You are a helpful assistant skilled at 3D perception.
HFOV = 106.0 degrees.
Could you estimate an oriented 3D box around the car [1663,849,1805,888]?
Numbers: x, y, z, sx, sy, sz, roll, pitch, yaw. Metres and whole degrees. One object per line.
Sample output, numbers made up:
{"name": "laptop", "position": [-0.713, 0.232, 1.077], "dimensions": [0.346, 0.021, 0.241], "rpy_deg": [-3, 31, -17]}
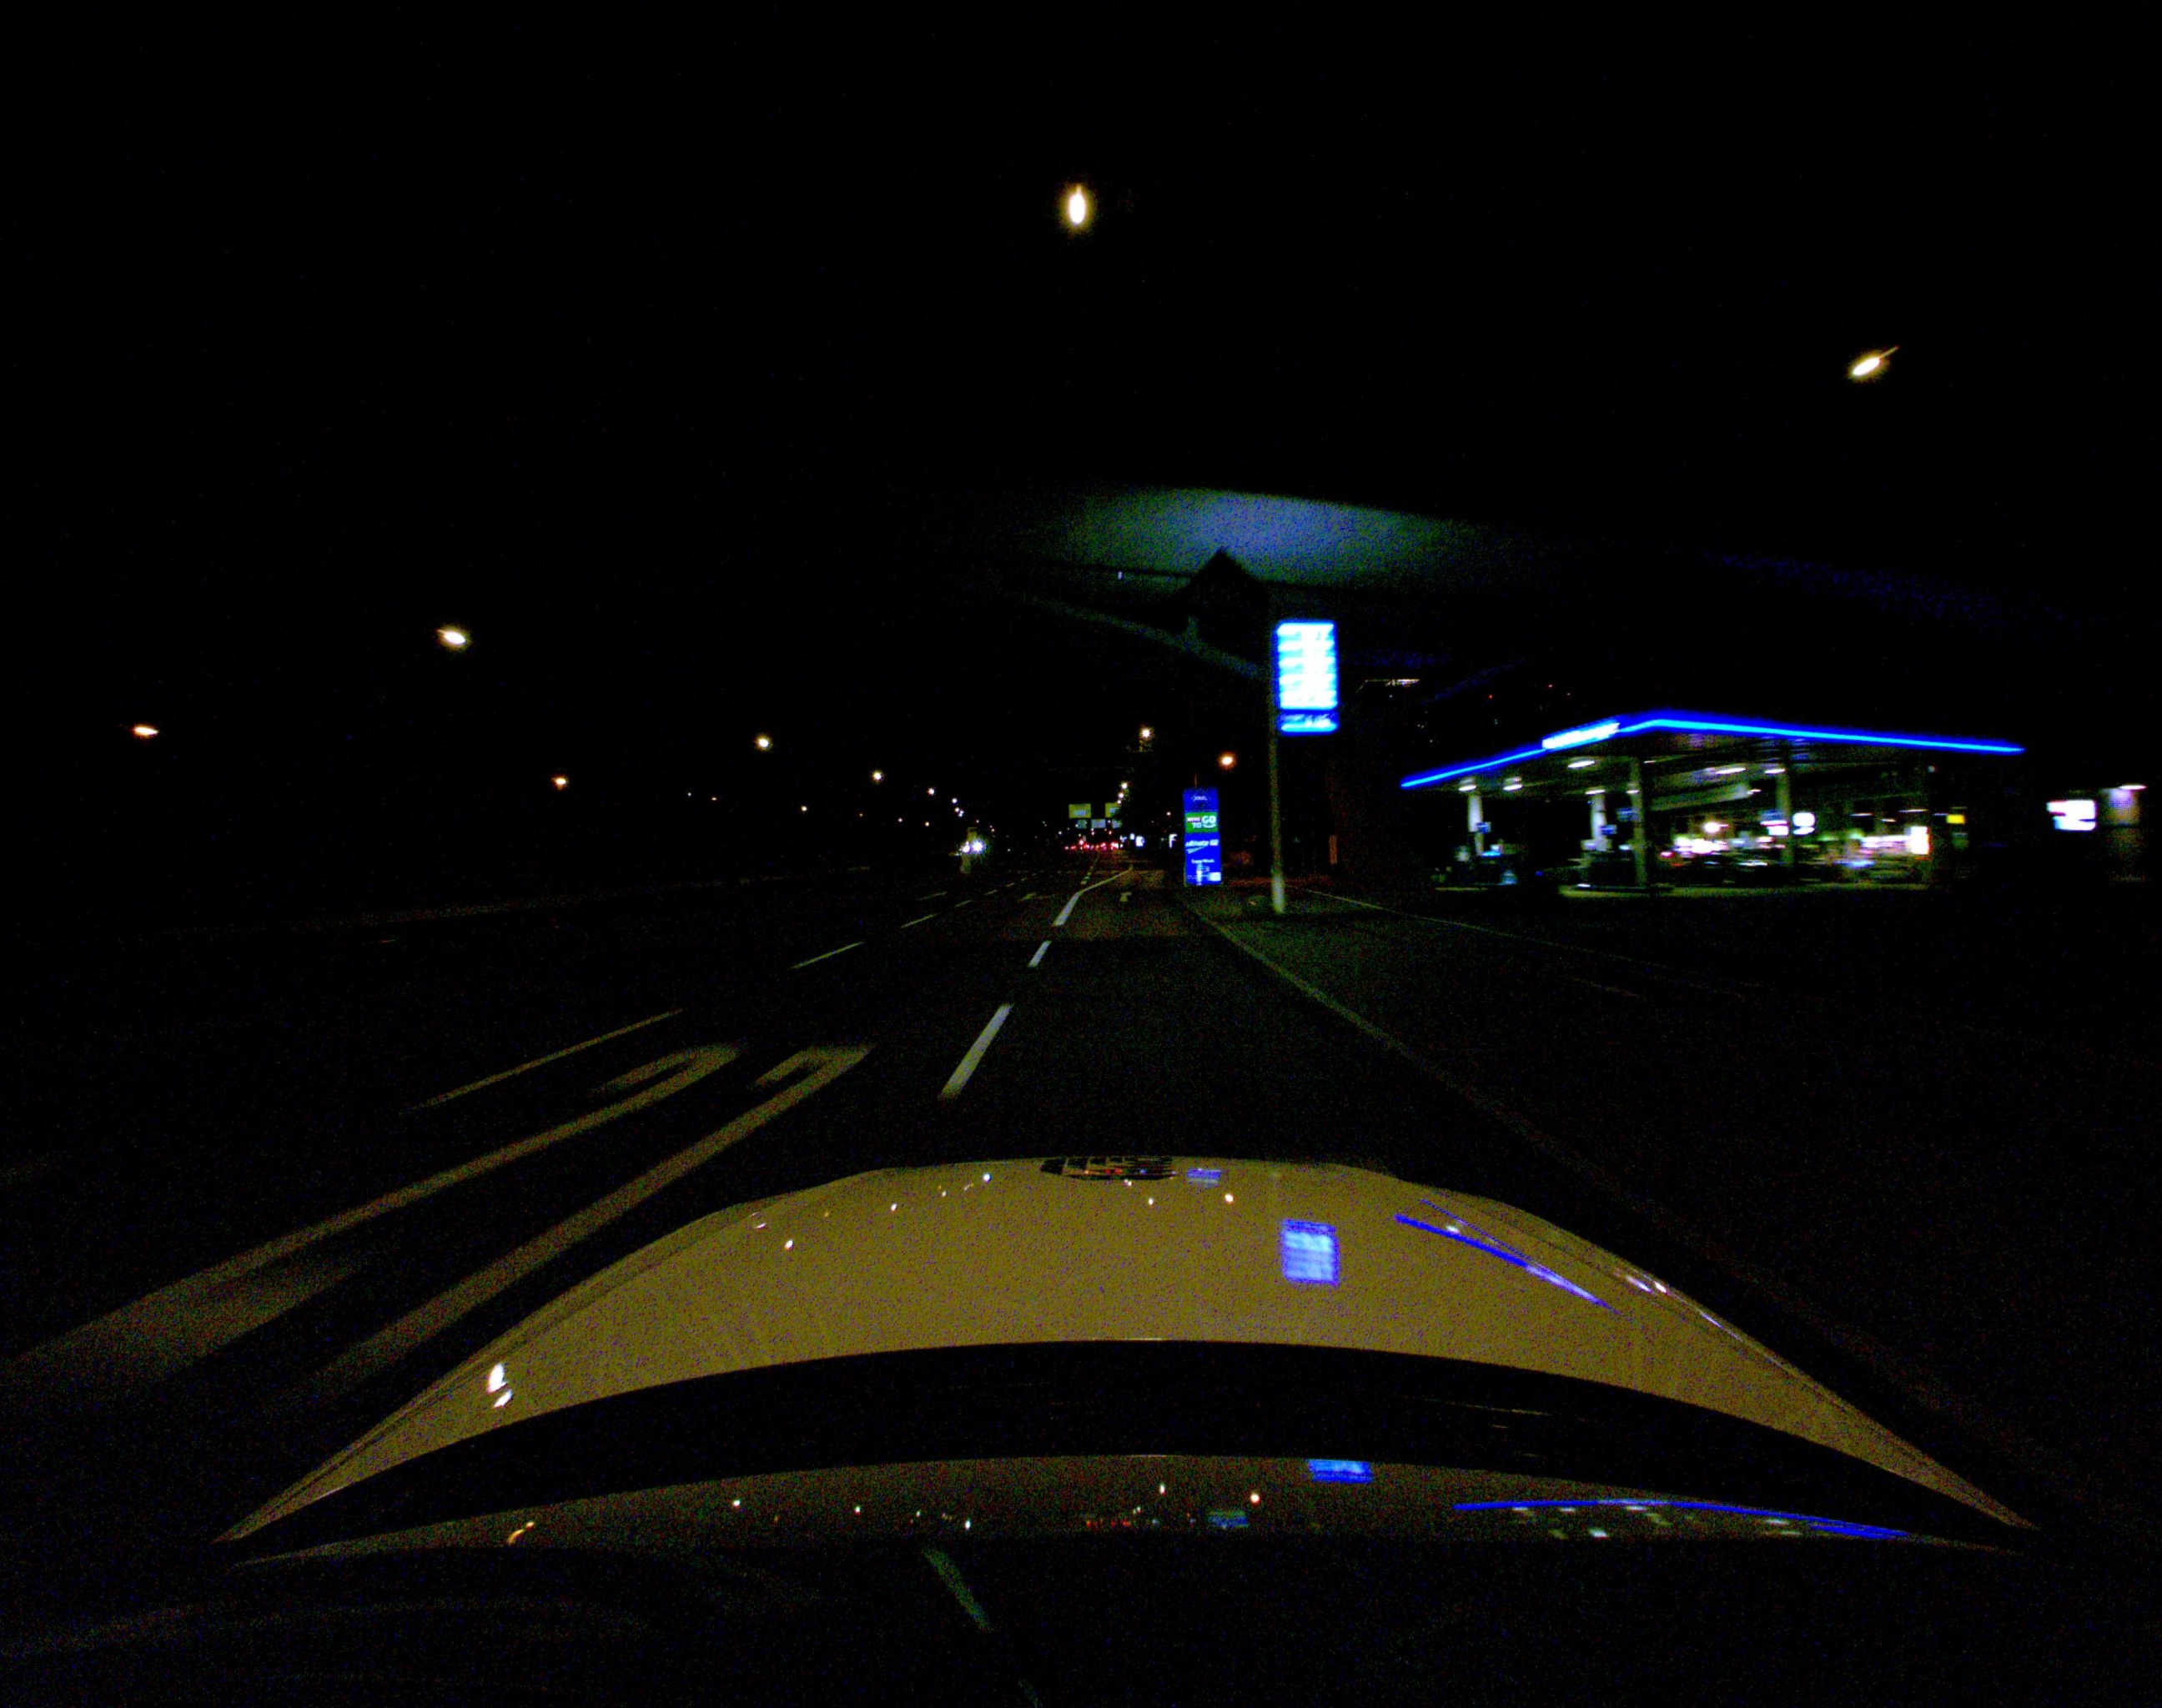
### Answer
{"name": "car", "position": [25.102, 0.541, 31.543], "dimensions": [1.922, 1.363, 4.331], "rpy_deg": [-1, -1, -2]}

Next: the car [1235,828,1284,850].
{"name": "car", "position": [15.480, -1.286, 70.777], "dimensions": [3.735, 1.587, 1.780], "rpy_deg": [-4, -2, 0]}

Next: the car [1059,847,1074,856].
{"name": "car", "position": [-3.021, -0.488, 172.953], "dimensions": [1.975, 1.711, 3.971], "rpy_deg": [1, -1, -21]}

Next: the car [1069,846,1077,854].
{"name": "car", "position": [-1.843, -0.994, 196.861], "dimensions": [1.778, 1.711, 3.995], "rpy_deg": [0, -1, -3]}

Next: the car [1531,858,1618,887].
{"name": "car", "position": [24.437, 0.888, 40.503], "dimensions": [1.649, 1.359, 4.063], "rpy_deg": [0, -1, -4]}

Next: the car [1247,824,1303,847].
{"name": "car", "position": [15.589, -1.455, 65.524], "dimensions": [4.102, 1.522, 1.824], "rpy_deg": [-3, -2, 3]}

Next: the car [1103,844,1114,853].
{"name": "car", "position": [5.488, -1.086, 163.607], "dimensions": [1.959, 1.711, 4.004], "rpy_deg": [0, -1, 4]}

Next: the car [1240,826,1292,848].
{"name": "car", "position": [15.491, -1.406, 68.257], "dimensions": [3.970, 1.571, 1.740], "rpy_deg": [-3, -1, 3]}

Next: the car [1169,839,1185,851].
{"name": "car", "position": [16.955, -1.557, 143.514], "dimensions": [1.977, 1.945, 4.019], "rpy_deg": [0, -1, 19]}

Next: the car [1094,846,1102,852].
{"name": "car", "position": [4.576, -1.328, 217.353], "dimensions": [1.996, 1.552, 4.299], "rpy_deg": [0, -1, 4]}

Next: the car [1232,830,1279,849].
{"name": "car", "position": [15.609, -1.303, 72.968], "dimensions": [3.713, 1.489, 1.742], "rpy_deg": [-3, -1, 0]}

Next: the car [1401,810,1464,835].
{"name": "car", "position": [30.874, -2.786, 71.643], "dimensions": [4.563, 1.910, 1.999], "rpy_deg": [-3, -1, -2]}
